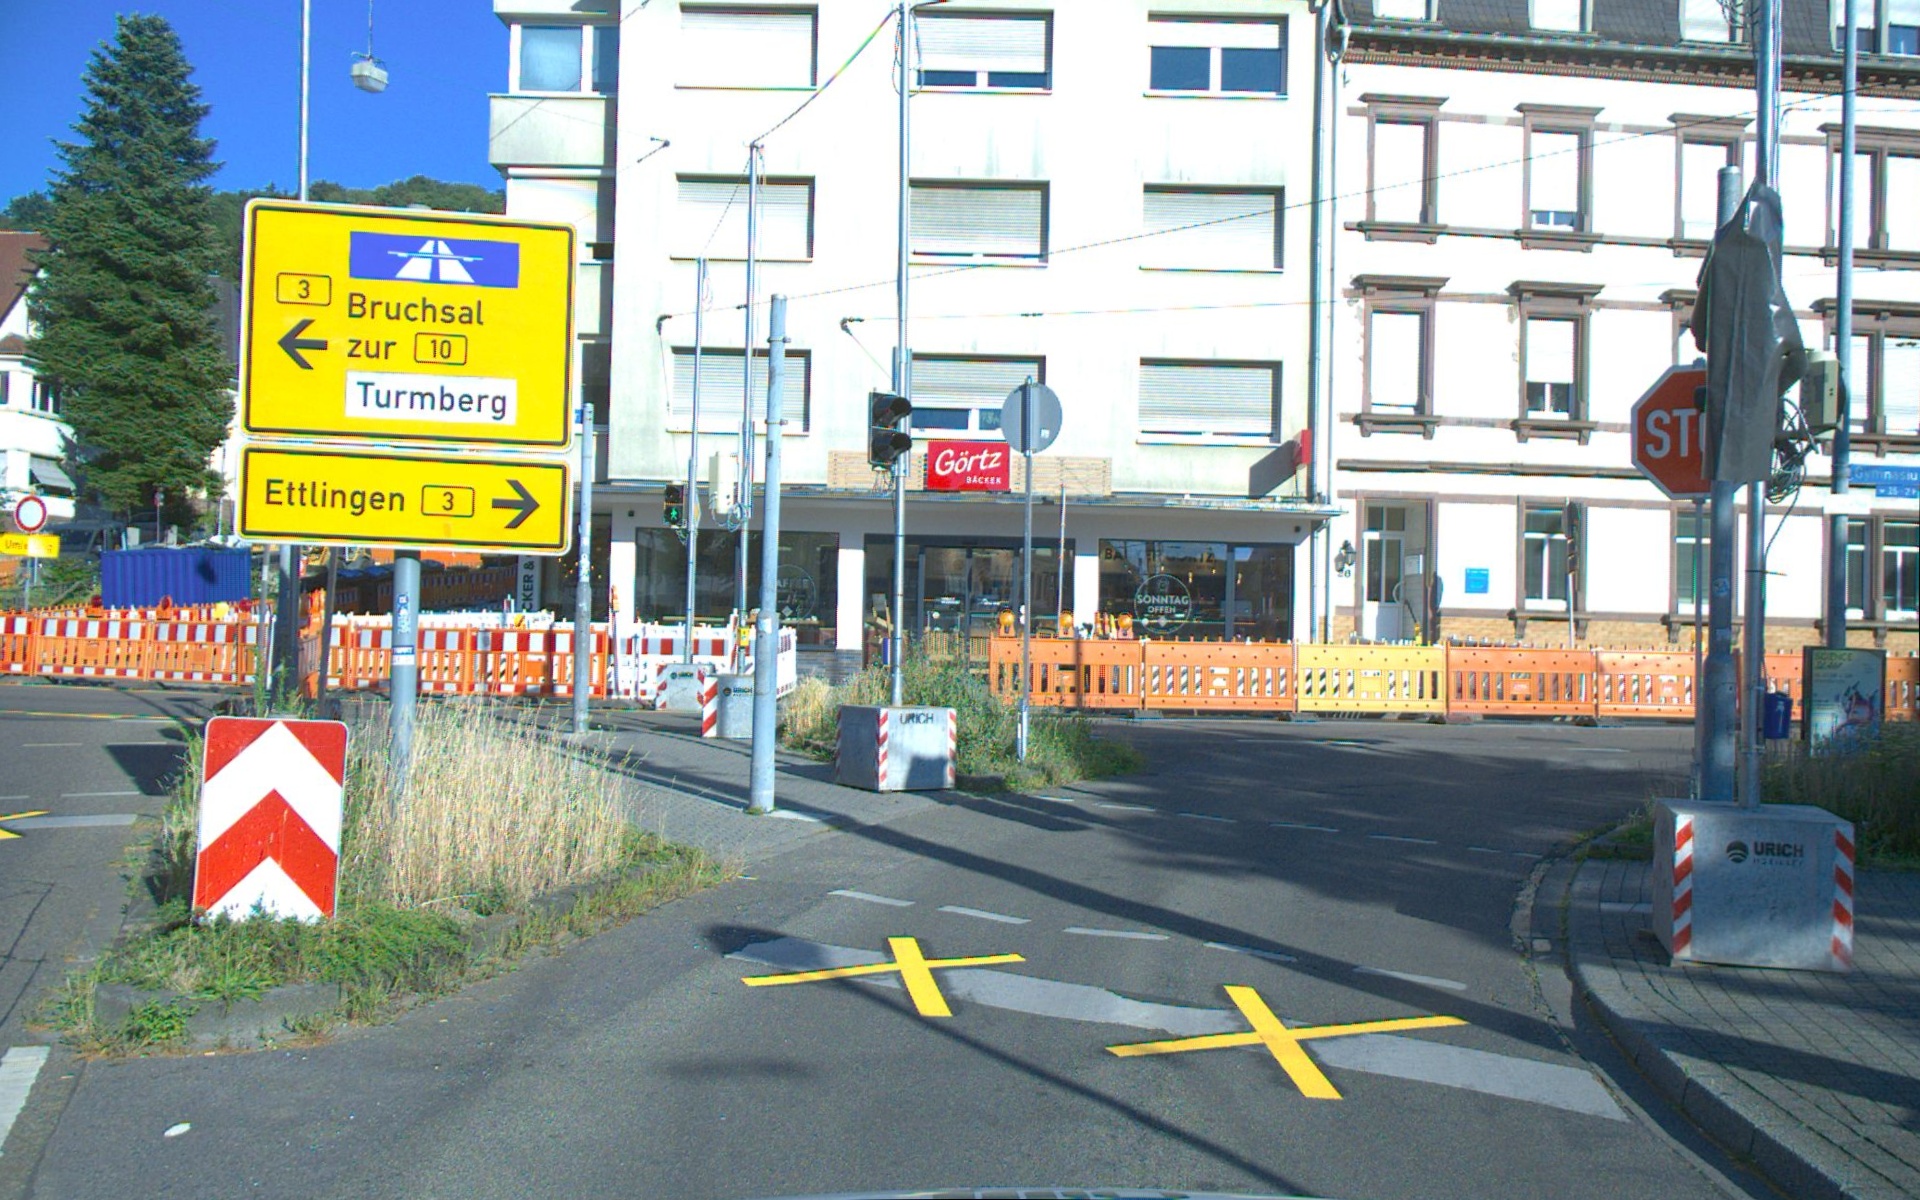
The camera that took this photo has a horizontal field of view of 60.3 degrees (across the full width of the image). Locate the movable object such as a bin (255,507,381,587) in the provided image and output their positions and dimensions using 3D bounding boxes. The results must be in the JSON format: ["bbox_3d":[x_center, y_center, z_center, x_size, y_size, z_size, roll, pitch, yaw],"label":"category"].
[{"bbox_3d":[-21.614,-1.741,55.889,1.907,2.538,4.555,0,0,9],"label":"movable object such as a bin"}]

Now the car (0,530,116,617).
[{"bbox_3d":[-24.825,-0.658,42.415,2.528,2.158,6.156,0,0,9],"label":"car"}]
